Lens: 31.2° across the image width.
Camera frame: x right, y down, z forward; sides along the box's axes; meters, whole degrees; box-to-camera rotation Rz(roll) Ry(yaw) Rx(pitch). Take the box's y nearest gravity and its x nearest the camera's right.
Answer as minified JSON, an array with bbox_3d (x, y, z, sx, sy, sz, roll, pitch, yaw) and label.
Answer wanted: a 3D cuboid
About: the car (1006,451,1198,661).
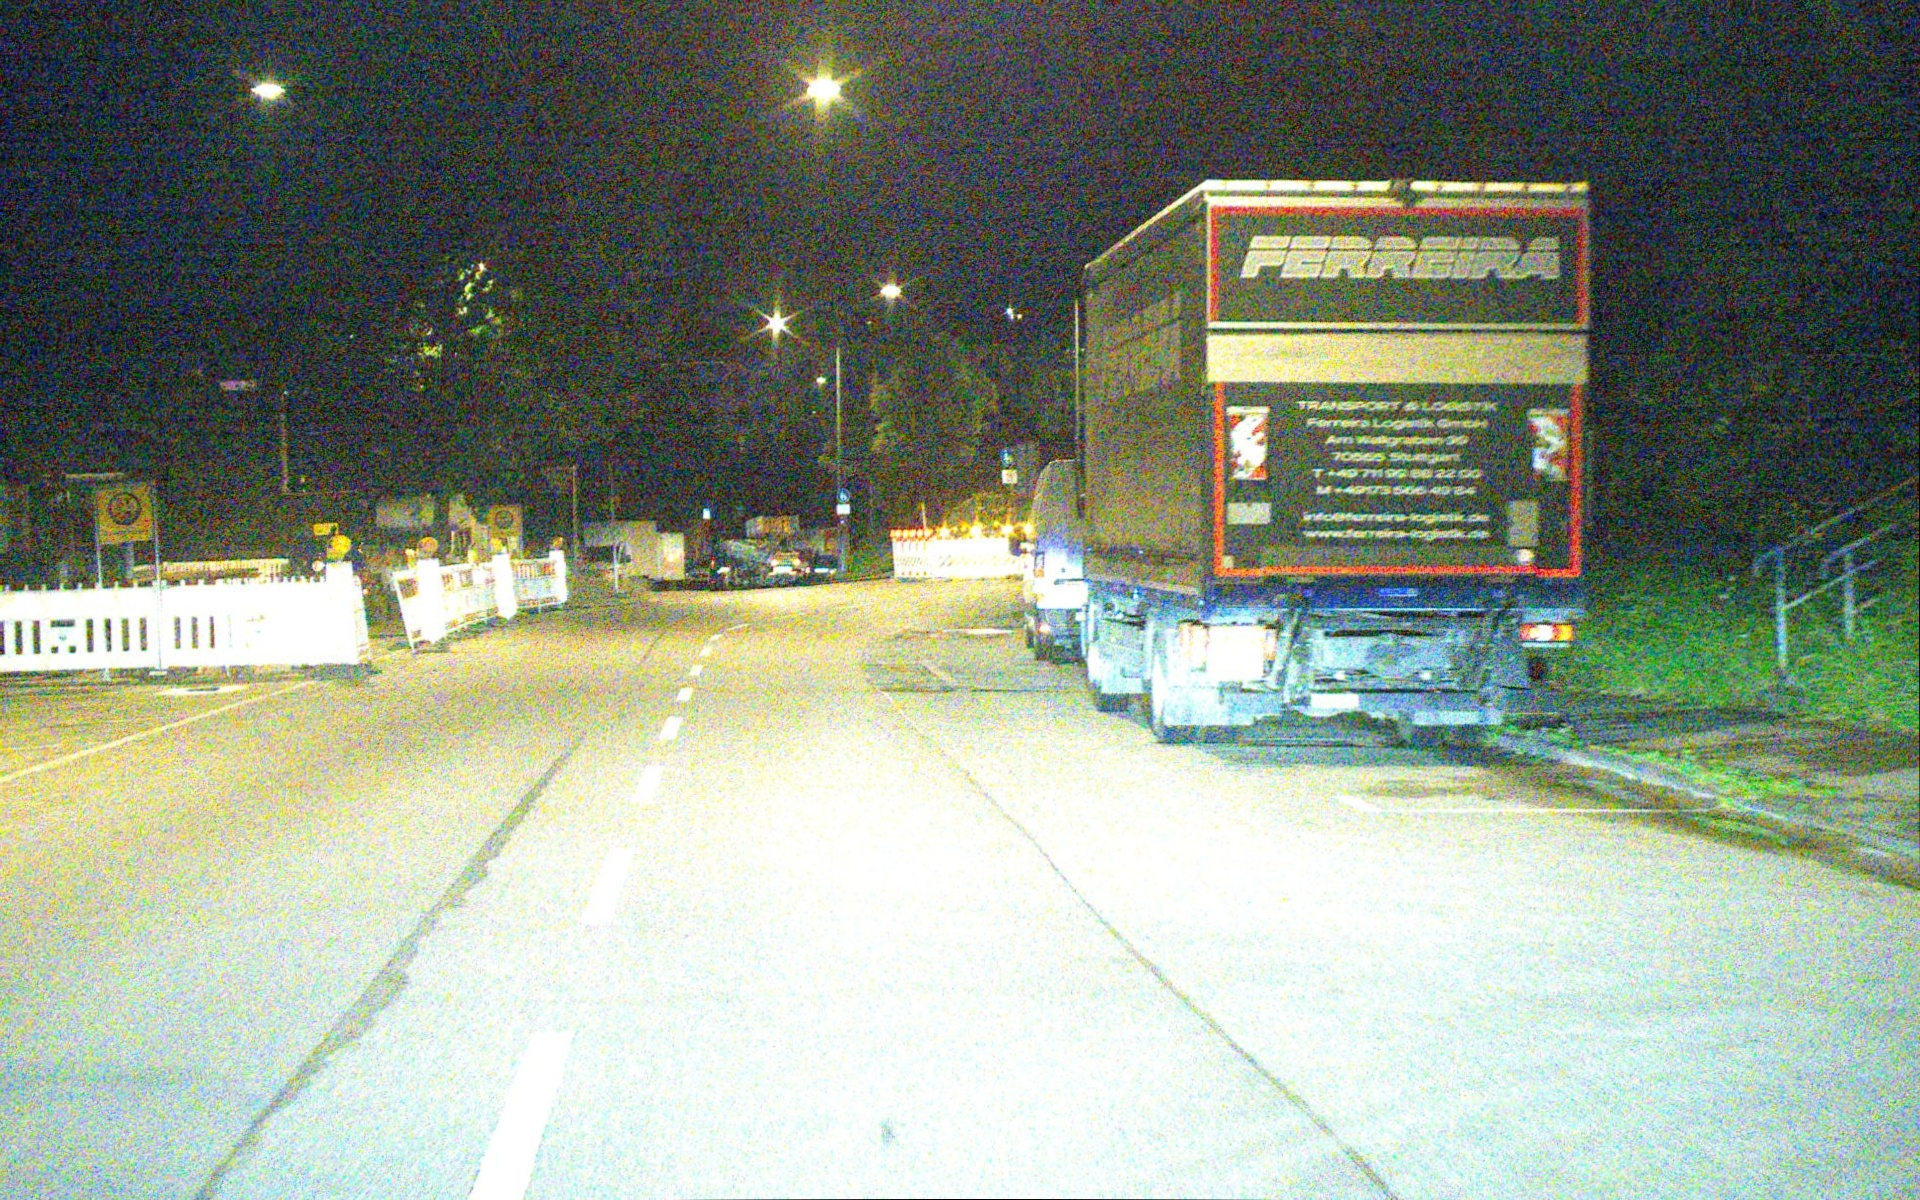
[{"bbox_3d":[1.745,-0.627,44.497,2.108,2.507,6.372,-1,2,-1],"label":"car"}]

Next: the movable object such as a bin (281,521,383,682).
[{"bbox_3d":[-11.458,-0.022,62.781,1.570,2.724,3.702,-4,2,-10],"label":"movable object such as a bin"}]

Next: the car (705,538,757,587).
[{"bbox_3d":[-7.904,-1.276,118.748,1.720,1.655,4.000,-1,0,-3],"label":"car"}]

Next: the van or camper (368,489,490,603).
[{"bbox_3d":[-15.432,-1.583,100.425,2.519,3.083,7.446,-3,1,-2],"label":"van or camper"}]

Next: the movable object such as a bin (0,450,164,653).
[{"bbox_3d":[-11.328,-0.606,44.099,1.548,2.459,2.840,-3,1,-24],"label":"movable object such as a bin"}]

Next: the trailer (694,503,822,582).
[{"bbox_3d":[-6.145,-1.721,104.023,1.559,2.153,5.221,-3,1,-31],"label":"trailer"}]

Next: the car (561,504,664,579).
[{"bbox_3d":[-15.482,-2.650,153.670,2.520,3.160,7.135,-3,1,10],"label":"car"}]

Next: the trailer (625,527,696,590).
[{"bbox_3d":[-13.951,-1.941,160.427,1.994,2.803,4.701,-1,2,11],"label":"trailer"}]

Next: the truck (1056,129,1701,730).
[{"bbox_3d":[2.847,-1.200,26.887,3.323,3.855,9.329,-1,1,-4],"label":"truck"}]

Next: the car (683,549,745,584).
[{"bbox_3d":[-12.206,-1.675,171.088,1.994,1.694,4.204,-1,0,12],"label":"car"}]

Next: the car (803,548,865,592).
[{"bbox_3d":[-5.401,-1.277,147.486,1.721,1.815,3.998,-1,0,12],"label":"car"}]

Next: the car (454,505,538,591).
[{"bbox_3d":[-16.858,-1.892,125.237,2.518,2.917,7.202,-3,1,-5],"label":"car"}]

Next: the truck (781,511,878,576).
[{"bbox_3d":[-7.139,-3.146,189.575,1.995,3.392,8.970,0,2,20],"label":"truck"}]
